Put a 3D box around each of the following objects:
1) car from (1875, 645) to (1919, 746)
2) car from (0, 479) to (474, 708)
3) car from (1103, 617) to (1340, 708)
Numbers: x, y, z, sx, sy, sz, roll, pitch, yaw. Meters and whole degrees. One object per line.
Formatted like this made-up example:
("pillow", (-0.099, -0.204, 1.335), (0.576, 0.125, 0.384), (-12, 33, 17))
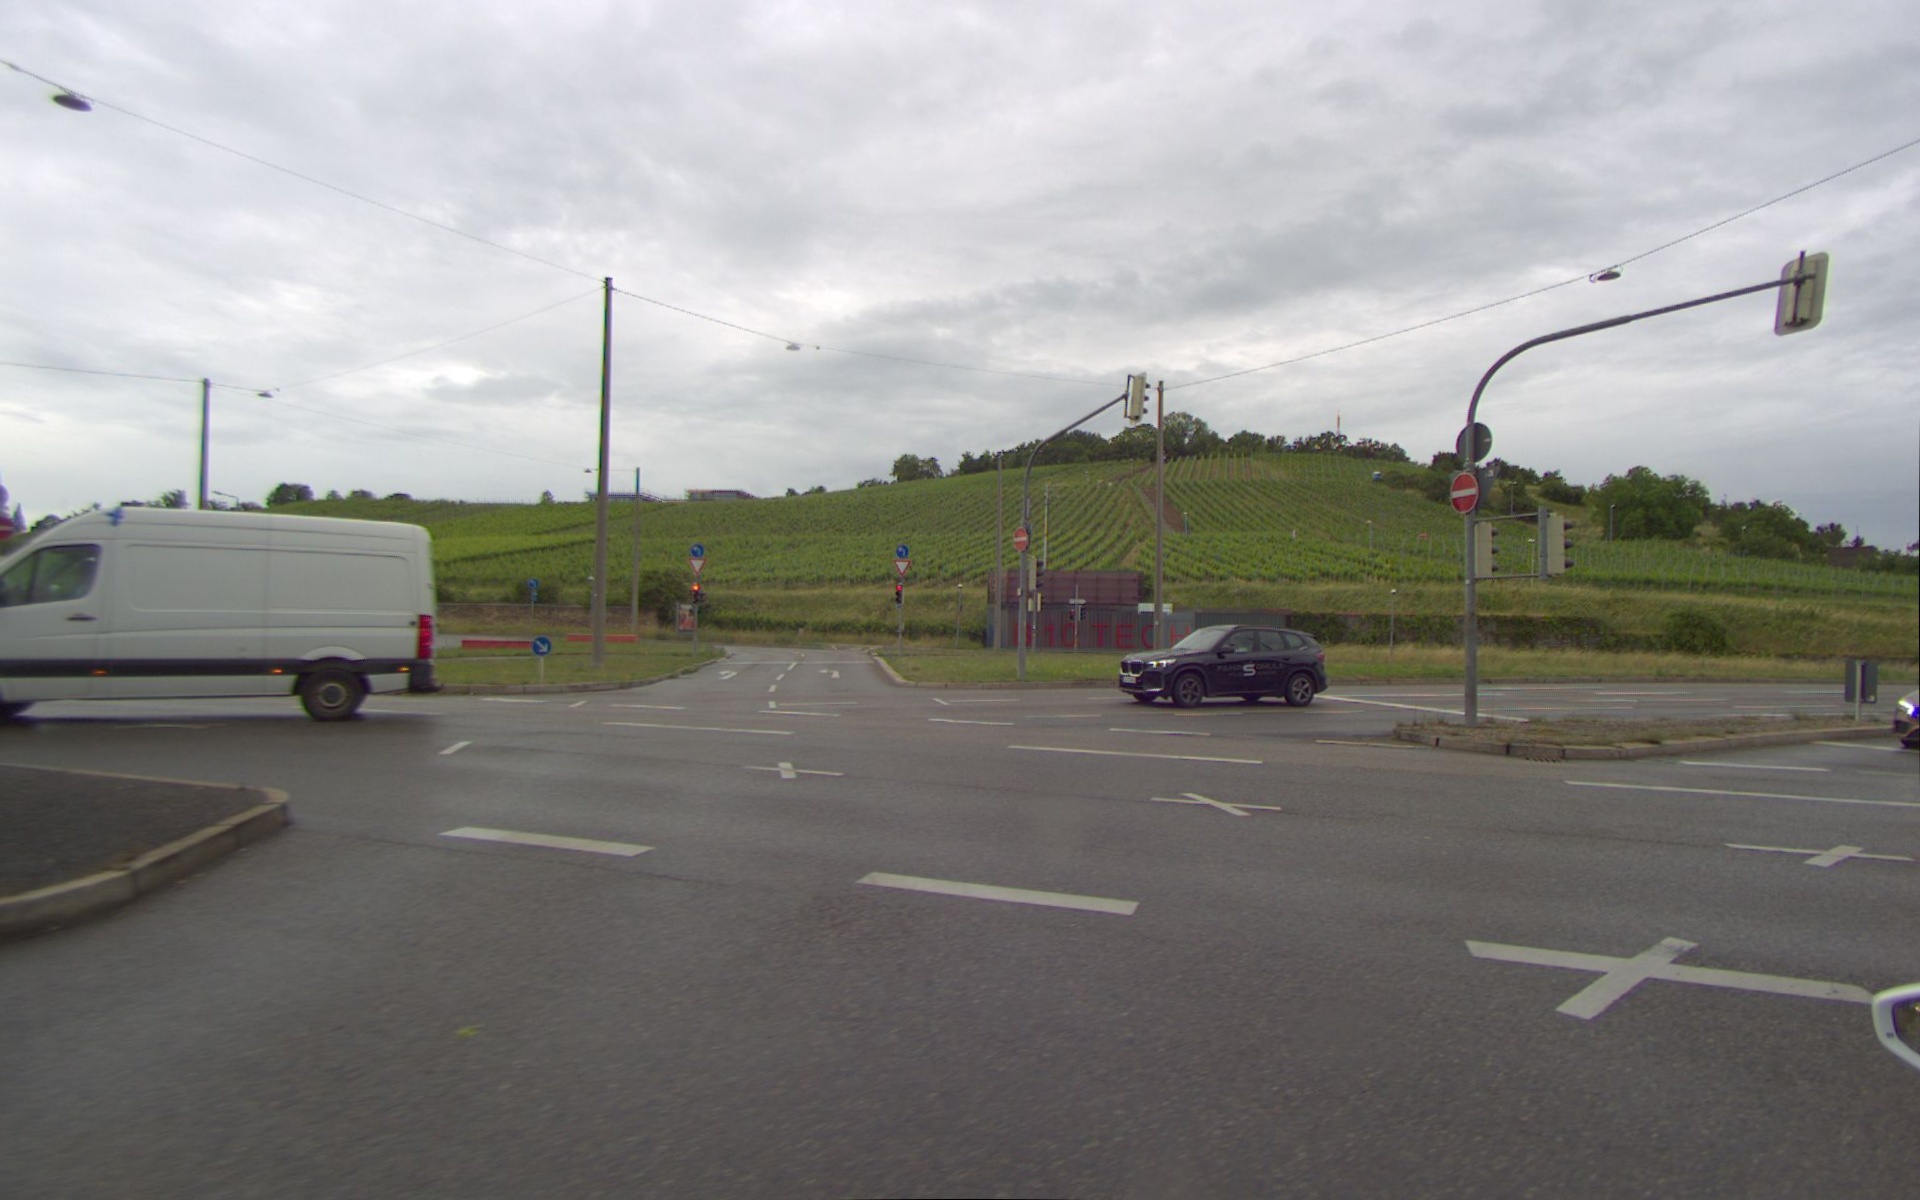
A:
("car", (15.987, 1.454, 15.114), (4.314, 1.444, 1.771), (2, -2, -25))
("car", (-9.793, 0.044, 13.088), (6.094, 2.592, 1.986), (3, -4, -29))
("car", (5.343, 1.277, 20.599), (4.438, 1.658, 1.774), (2, 0, -19))
